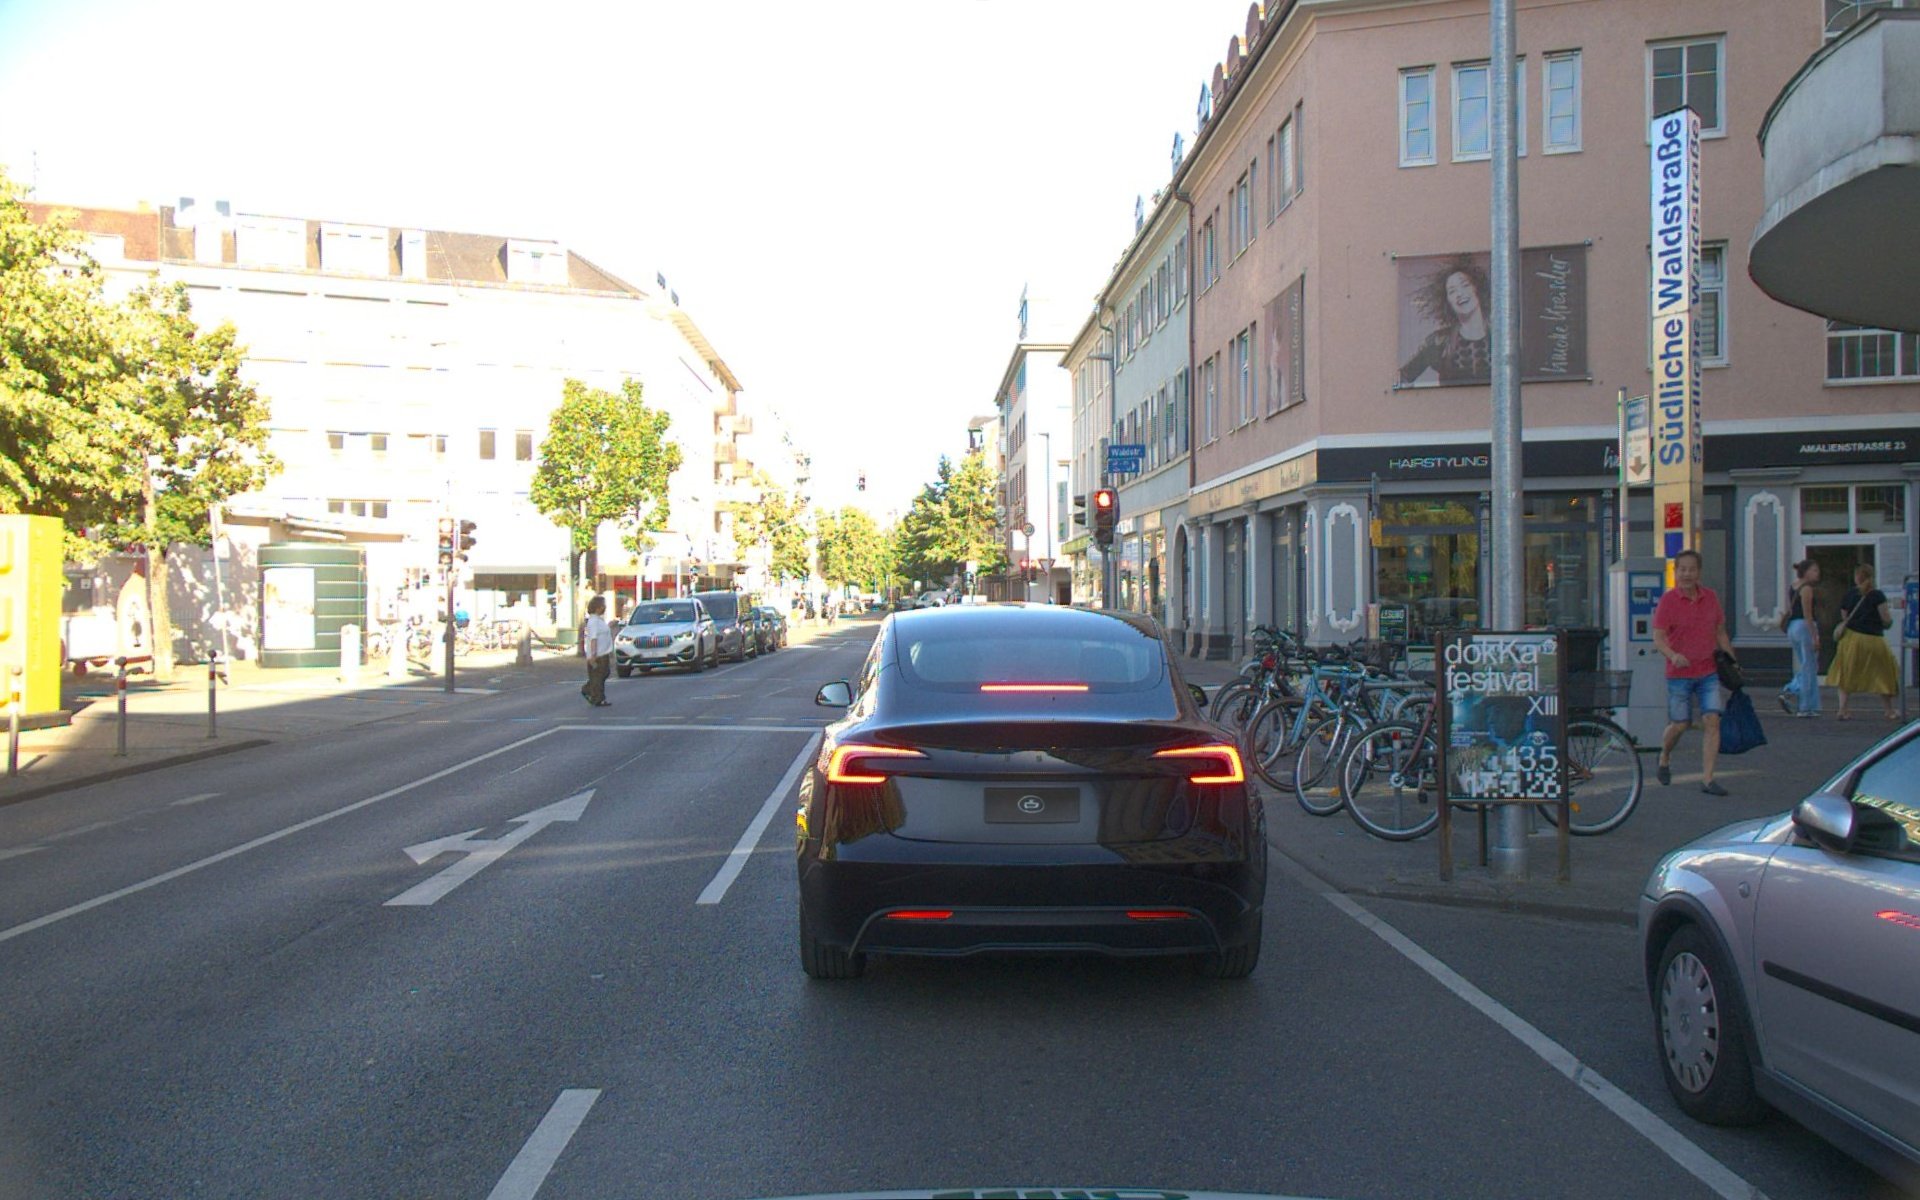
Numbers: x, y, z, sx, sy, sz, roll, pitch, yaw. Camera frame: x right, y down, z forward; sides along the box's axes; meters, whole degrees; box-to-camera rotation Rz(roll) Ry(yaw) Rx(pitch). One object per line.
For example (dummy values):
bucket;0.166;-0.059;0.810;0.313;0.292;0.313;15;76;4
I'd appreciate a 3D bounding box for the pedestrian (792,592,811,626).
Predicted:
pedestrian;-9.044;0.509;94.404;0.719;1.900;0.790;1;-1;28

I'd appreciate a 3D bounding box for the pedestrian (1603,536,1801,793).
pedestrian;5.327;0.441;11.955;1.035;1.750;1.114;1;0;9

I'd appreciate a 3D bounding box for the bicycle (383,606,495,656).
bicycle;-14.125;0.842;44.924;2.725;1.296;0.932;1;0;-4

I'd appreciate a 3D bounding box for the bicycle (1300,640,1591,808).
bicycle;3.248;0.823;11.164;1.776;1.078;0.653;0;0;0

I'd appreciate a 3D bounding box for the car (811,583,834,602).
car;-15.603;-0.827;188.063;2.228;2.049;4.717;1;0;0

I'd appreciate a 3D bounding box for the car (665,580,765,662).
car;-6.232;0.505;42.566;1.906;1.981;4.819;0;0;-1

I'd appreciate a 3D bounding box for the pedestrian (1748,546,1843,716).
pedestrian;9.598;0.352;18.992;0.670;1.882;0.889;-4;-1;41

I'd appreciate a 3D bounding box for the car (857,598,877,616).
car;-10.503;0.820;186.968;2.089;2.004;4.133;0;0;-1

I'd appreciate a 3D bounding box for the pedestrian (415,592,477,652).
pedestrian;-14.415;0.619;46.416;1.236;1.639;1.096;1;0;21

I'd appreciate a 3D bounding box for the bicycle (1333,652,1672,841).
bicycle;3.277;0.876;10.092;1.844;1.062;0.653;-1;0;0

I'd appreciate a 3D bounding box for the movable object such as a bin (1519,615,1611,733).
movable object such as a bin;6.040;0.723;16.543;0.623;1.122;0.728;-2;0;3

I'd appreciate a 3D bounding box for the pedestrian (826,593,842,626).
pedestrian;-7.277;0.544;95.504;0.761;1.900;1.005;1;-1;-14

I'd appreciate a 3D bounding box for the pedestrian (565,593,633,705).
pedestrian;-5.178;0.697;23.753;0.905;1.570;0.693;1;-1;-11

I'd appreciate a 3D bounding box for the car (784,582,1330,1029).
car;0.298;0.701;7.773;1.812;1.472;4.450;1;0;-1

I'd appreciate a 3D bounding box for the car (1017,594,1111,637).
car;4.711;0.700;74.742;3.937;1.900;1.686;0;0;-22

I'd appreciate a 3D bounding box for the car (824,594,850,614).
car;-12.346;0.387;166.264;2.365;2.004;4.677;0;0;-1

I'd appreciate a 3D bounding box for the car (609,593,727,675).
car;-6.324;0.710;36.238;1.788;1.592;4.299;-3;0;-1

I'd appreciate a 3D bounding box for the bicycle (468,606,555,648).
bicycle;-14.063;0.848;51.918;2.491;1.273;0.942;1;0;-4

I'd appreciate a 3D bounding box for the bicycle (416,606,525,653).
bicycle;-14.002;0.829;47.326;2.818;1.292;0.942;1;0;-4

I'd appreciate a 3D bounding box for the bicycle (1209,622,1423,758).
bicycle;3.161;0.792;14.778;1.776;1.172;0.653;0;0;0

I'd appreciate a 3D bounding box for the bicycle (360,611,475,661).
bicycle;-13.951;0.923;42.587;2.607;1.216;0.942;1;0;-4

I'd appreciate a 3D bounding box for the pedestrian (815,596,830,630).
pedestrian;-7.932;0.744;95.441;0.683;1.900;0.906;1;-1;-13

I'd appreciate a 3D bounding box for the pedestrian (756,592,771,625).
pedestrian;-11.515;0.476;96.791;0.721;1.900;0.787;1;-1;-17

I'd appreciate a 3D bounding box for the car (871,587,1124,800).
car;0.242;0.686;14.197;1.812;1.507;4.450;1;0;-1

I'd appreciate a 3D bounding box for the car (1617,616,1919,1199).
car;2.920;0.782;3.539;1.551;1.451;3.579;1;0;-1

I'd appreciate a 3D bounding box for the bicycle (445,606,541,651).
bicycle;-14.011;0.843;49.644;2.609;1.281;0.942;1;0;-4

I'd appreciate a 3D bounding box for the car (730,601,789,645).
car;-6.826;0.762;56.637;1.660;1.414;3.914;-1;0;-3

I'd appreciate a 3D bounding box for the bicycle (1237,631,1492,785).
bicycle;3.048;0.805;12.568;1.776;1.121;0.653;0;0;0

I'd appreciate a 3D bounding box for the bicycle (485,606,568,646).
bicycle;-14.229;0.855;54.340;2.491;1.273;0.942;1;0;-4

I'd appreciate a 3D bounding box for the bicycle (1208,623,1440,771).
bicycle;2.977;0.784;13.641;1.776;1.172;0.653;0;0;0

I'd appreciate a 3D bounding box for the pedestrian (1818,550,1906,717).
pedestrian;9.953;0.366;18.243;0.709;1.785;0.785;-3;-1;34

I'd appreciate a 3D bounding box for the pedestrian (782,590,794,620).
pedestrian;-10.768;0.308;103.716;0.681;1.900;0.658;1;-1;-6

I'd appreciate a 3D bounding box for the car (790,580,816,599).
car;-17.019;-1.139;179.407;2.228;2.049;4.717;1;0;0

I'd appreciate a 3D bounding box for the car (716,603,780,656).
car;-6.337;0.852;49.693;1.431;1.455;3.605;-3;0;-1

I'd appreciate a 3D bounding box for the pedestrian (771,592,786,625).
pedestrian;-10.647;0.492;97.006;0.721;1.900;0.787;1;-1;-17

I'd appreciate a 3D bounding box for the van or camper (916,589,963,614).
van or camper;-2.070;0.163;167.521;4.752;2.481;1.850;0;0;-1
